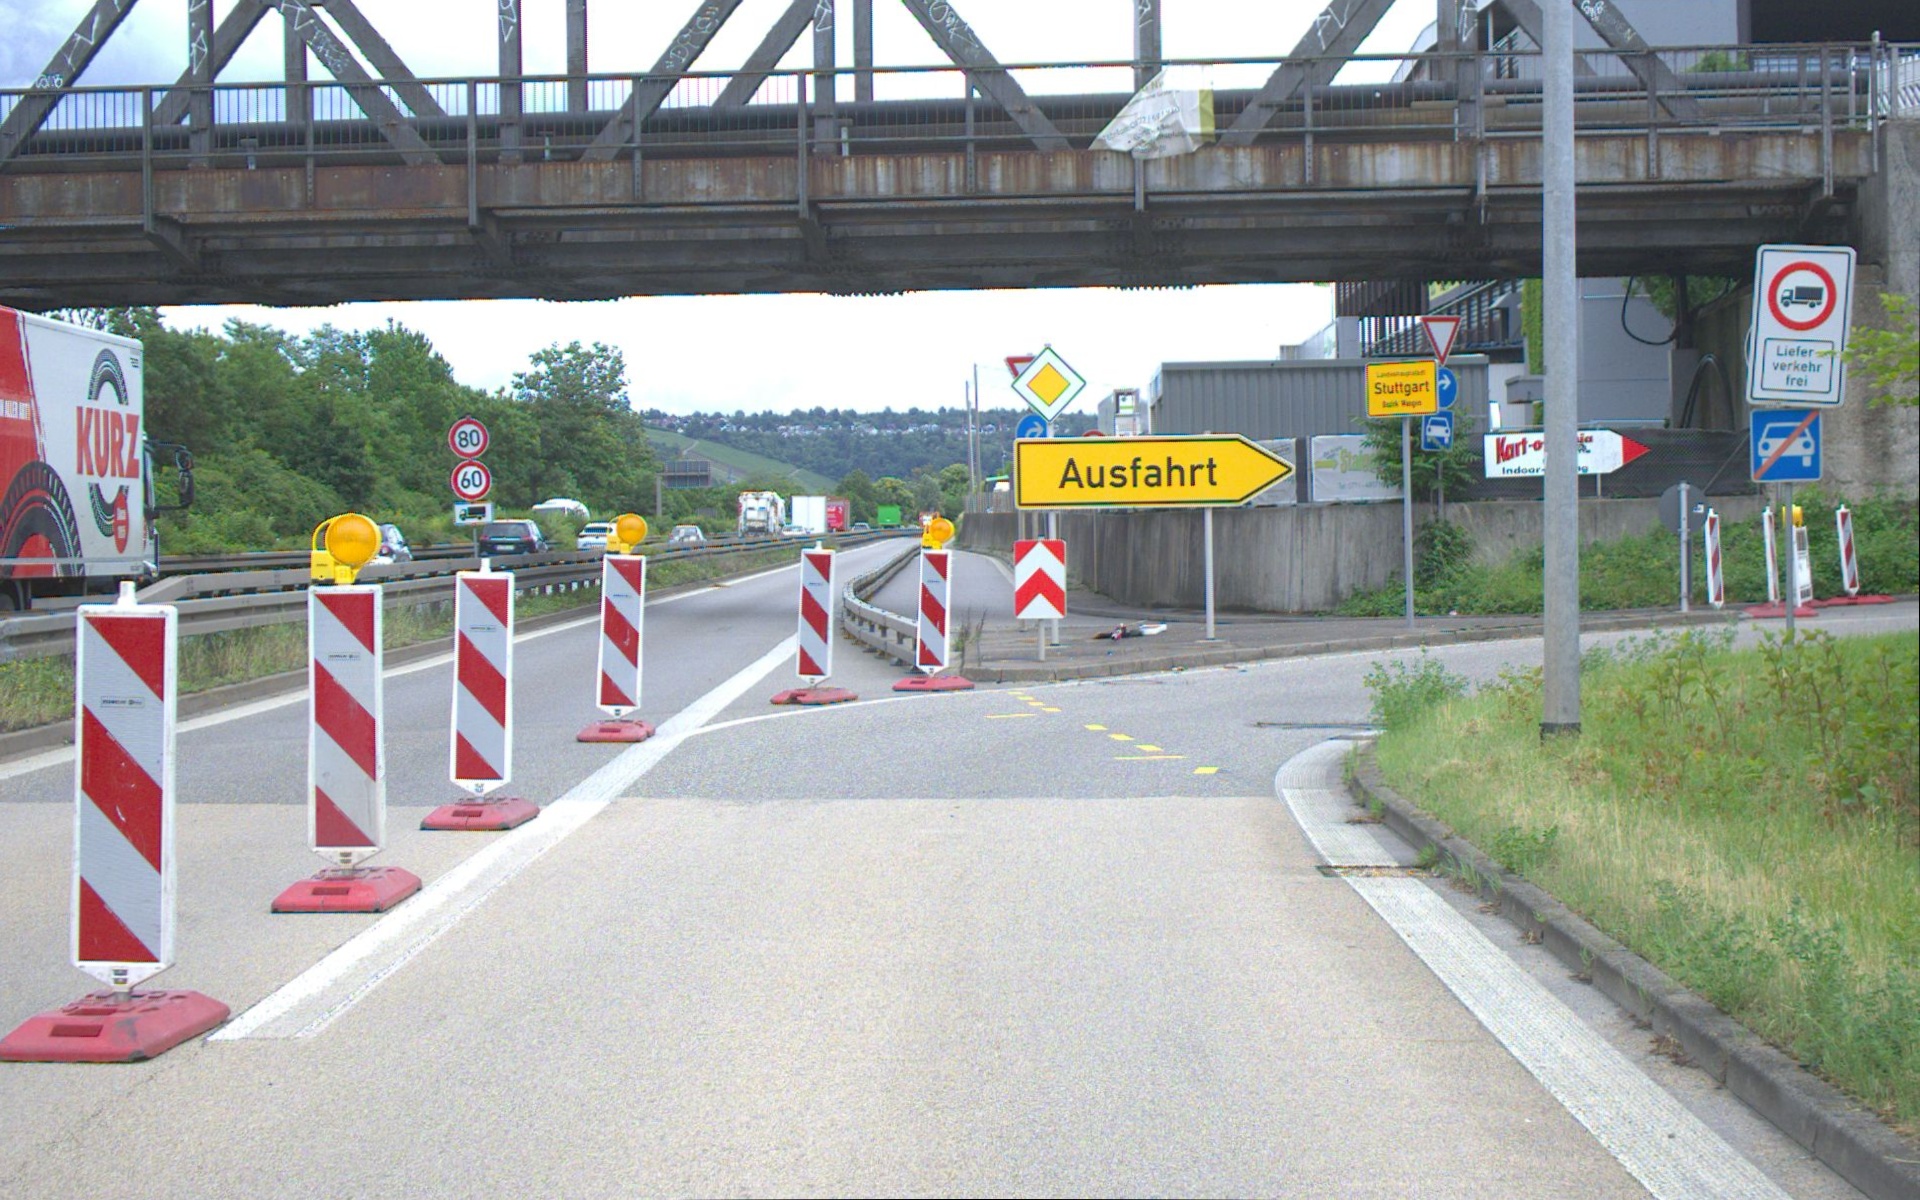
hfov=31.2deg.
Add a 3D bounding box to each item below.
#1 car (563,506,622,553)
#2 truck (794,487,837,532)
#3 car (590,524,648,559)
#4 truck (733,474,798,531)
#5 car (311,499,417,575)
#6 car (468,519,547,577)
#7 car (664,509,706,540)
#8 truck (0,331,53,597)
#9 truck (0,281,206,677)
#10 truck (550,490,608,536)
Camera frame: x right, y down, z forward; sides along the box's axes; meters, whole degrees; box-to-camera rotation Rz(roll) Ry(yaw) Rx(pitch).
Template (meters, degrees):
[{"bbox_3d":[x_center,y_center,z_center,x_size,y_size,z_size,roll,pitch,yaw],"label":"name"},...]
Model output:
[{"bbox_3d":[-14.463,-2.783,135.556,1.993,1.809,4.001,0,2,-2],"label":"car"},{"bbox_3d":[-10.167,-6.377,242.836,2.681,3.129,6.132,1,1,1],"label":"truck"},{"bbox_3d":[-14.217,-2.453,143.586,1.973,1.409,4.600,-1,1,0],"label":"car"},{"bbox_3d":[-12.580,-6.335,223.234,3.720,3.632,7.728,0,2,1],"label":"truck"},{"bbox_3d":[-14.375,-1.526,83.138,1.993,1.753,4.001,-1,1,-2],"label":"car"},{"bbox_3d":[-14.192,-1.639,107.974,1.993,1.753,4.000,-1,1,-1],"label":"car"},{"bbox_3d":[-14.055,-3.880,175.892,1.779,1.590,3.750,0,2,1],"label":"car"},{"bbox_3d":[-14.214,-1.763,44.848,2.994,3.544,7.742,-1,1,-3],"label":"truck"},{"bbox_3d":[-10.217,-1.178,34.558,2.953,3.617,10.155,0,1,0],"label":"truck"},{"bbox_3d":[-24.189,-5.531,218.488,2.497,2.836,7.253,1,1,3],"label":"truck"}]
